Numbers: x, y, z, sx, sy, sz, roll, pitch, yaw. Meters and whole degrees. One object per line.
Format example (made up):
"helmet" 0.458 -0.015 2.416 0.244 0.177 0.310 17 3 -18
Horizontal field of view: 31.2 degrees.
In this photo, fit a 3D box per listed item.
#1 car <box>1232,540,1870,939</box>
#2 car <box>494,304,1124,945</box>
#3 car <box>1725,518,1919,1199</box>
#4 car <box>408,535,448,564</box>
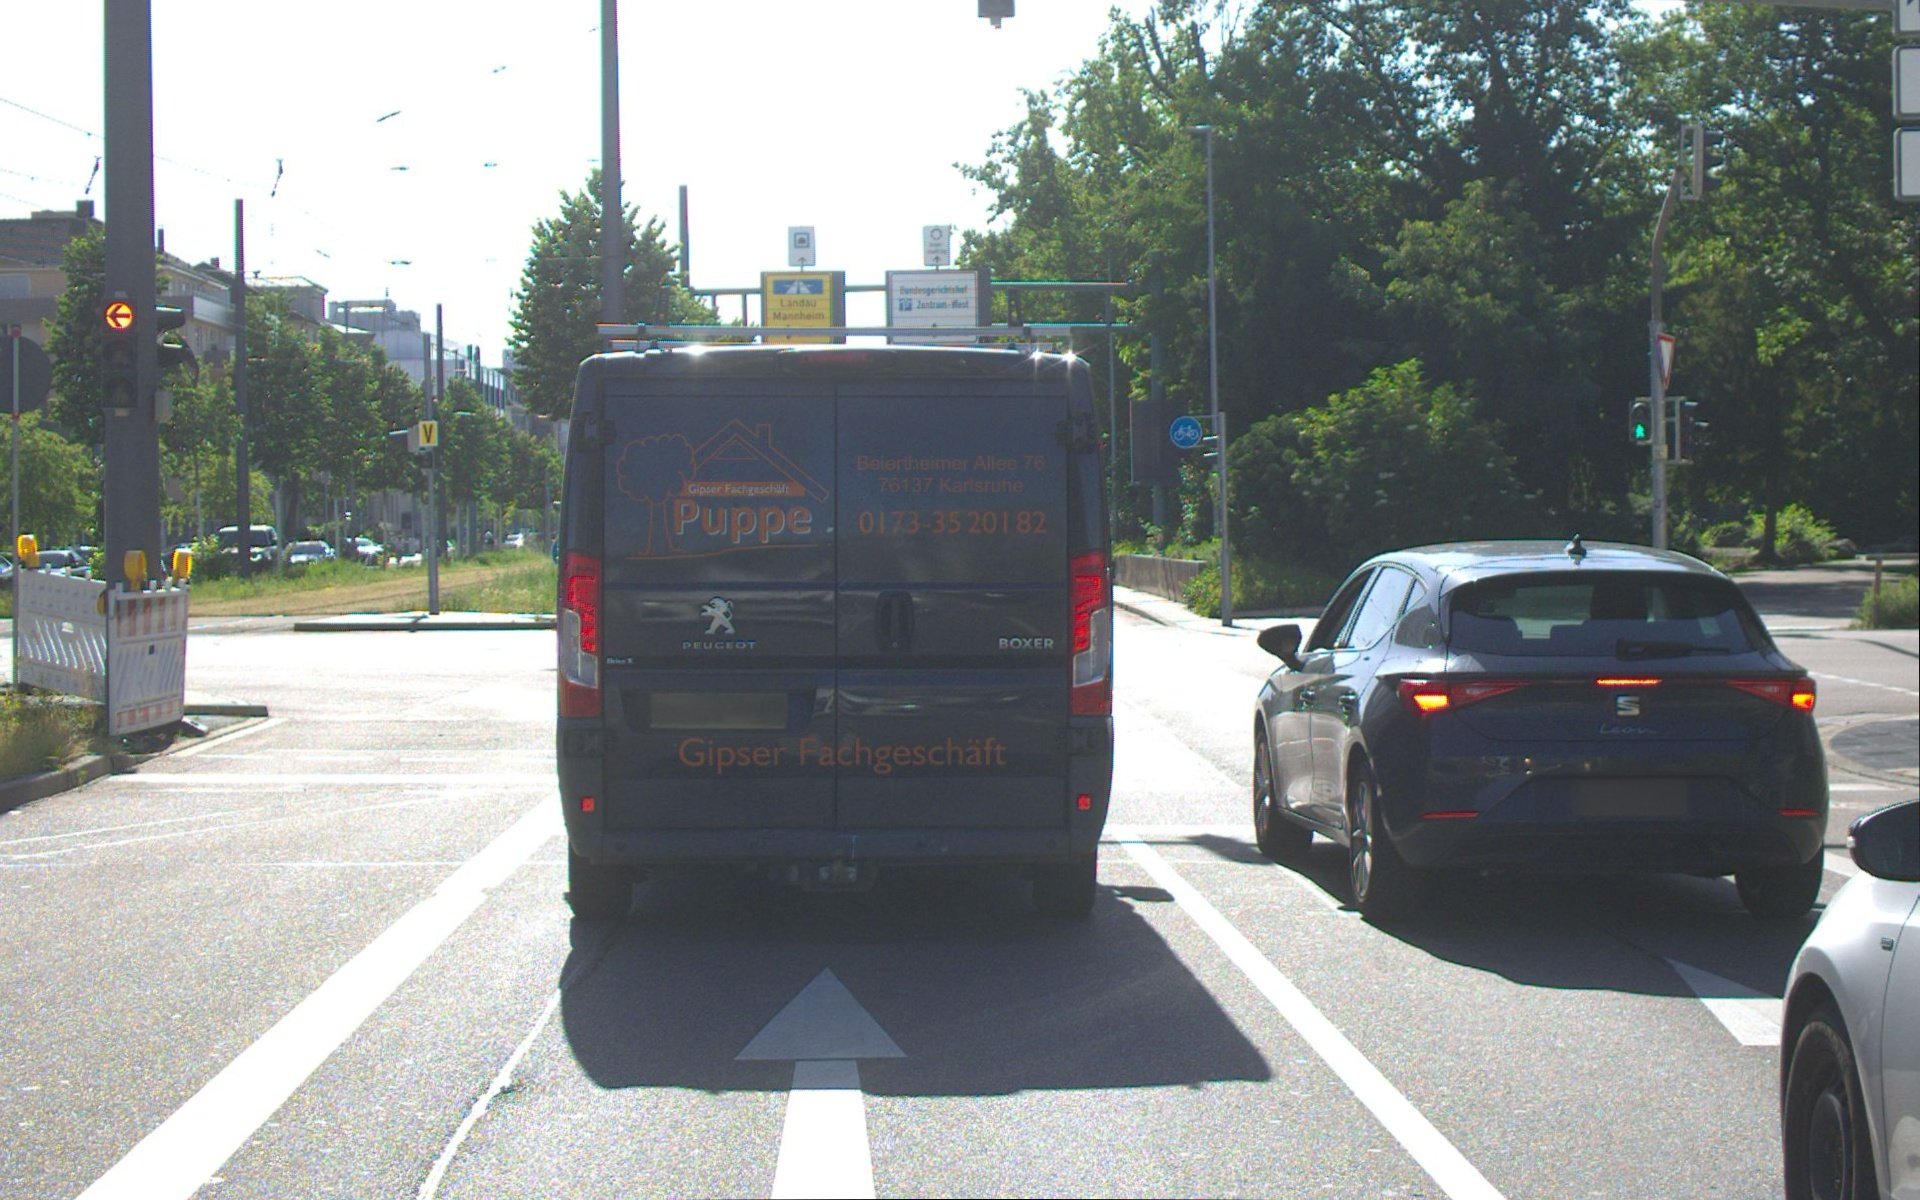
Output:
"car" 2.276 0.471 14.254 1.791 1.423 3.850 0 1 -3
"car" -0.635 0.023 14.447 2.218 2.259 4.485 0 2 -3
"car" 2.467 0.650 5.019 1.749 1.522 4.005 0 1 -1
"car" -31.880 -3.047 206.089 1.790 1.645 4.000 -1 1 -1
